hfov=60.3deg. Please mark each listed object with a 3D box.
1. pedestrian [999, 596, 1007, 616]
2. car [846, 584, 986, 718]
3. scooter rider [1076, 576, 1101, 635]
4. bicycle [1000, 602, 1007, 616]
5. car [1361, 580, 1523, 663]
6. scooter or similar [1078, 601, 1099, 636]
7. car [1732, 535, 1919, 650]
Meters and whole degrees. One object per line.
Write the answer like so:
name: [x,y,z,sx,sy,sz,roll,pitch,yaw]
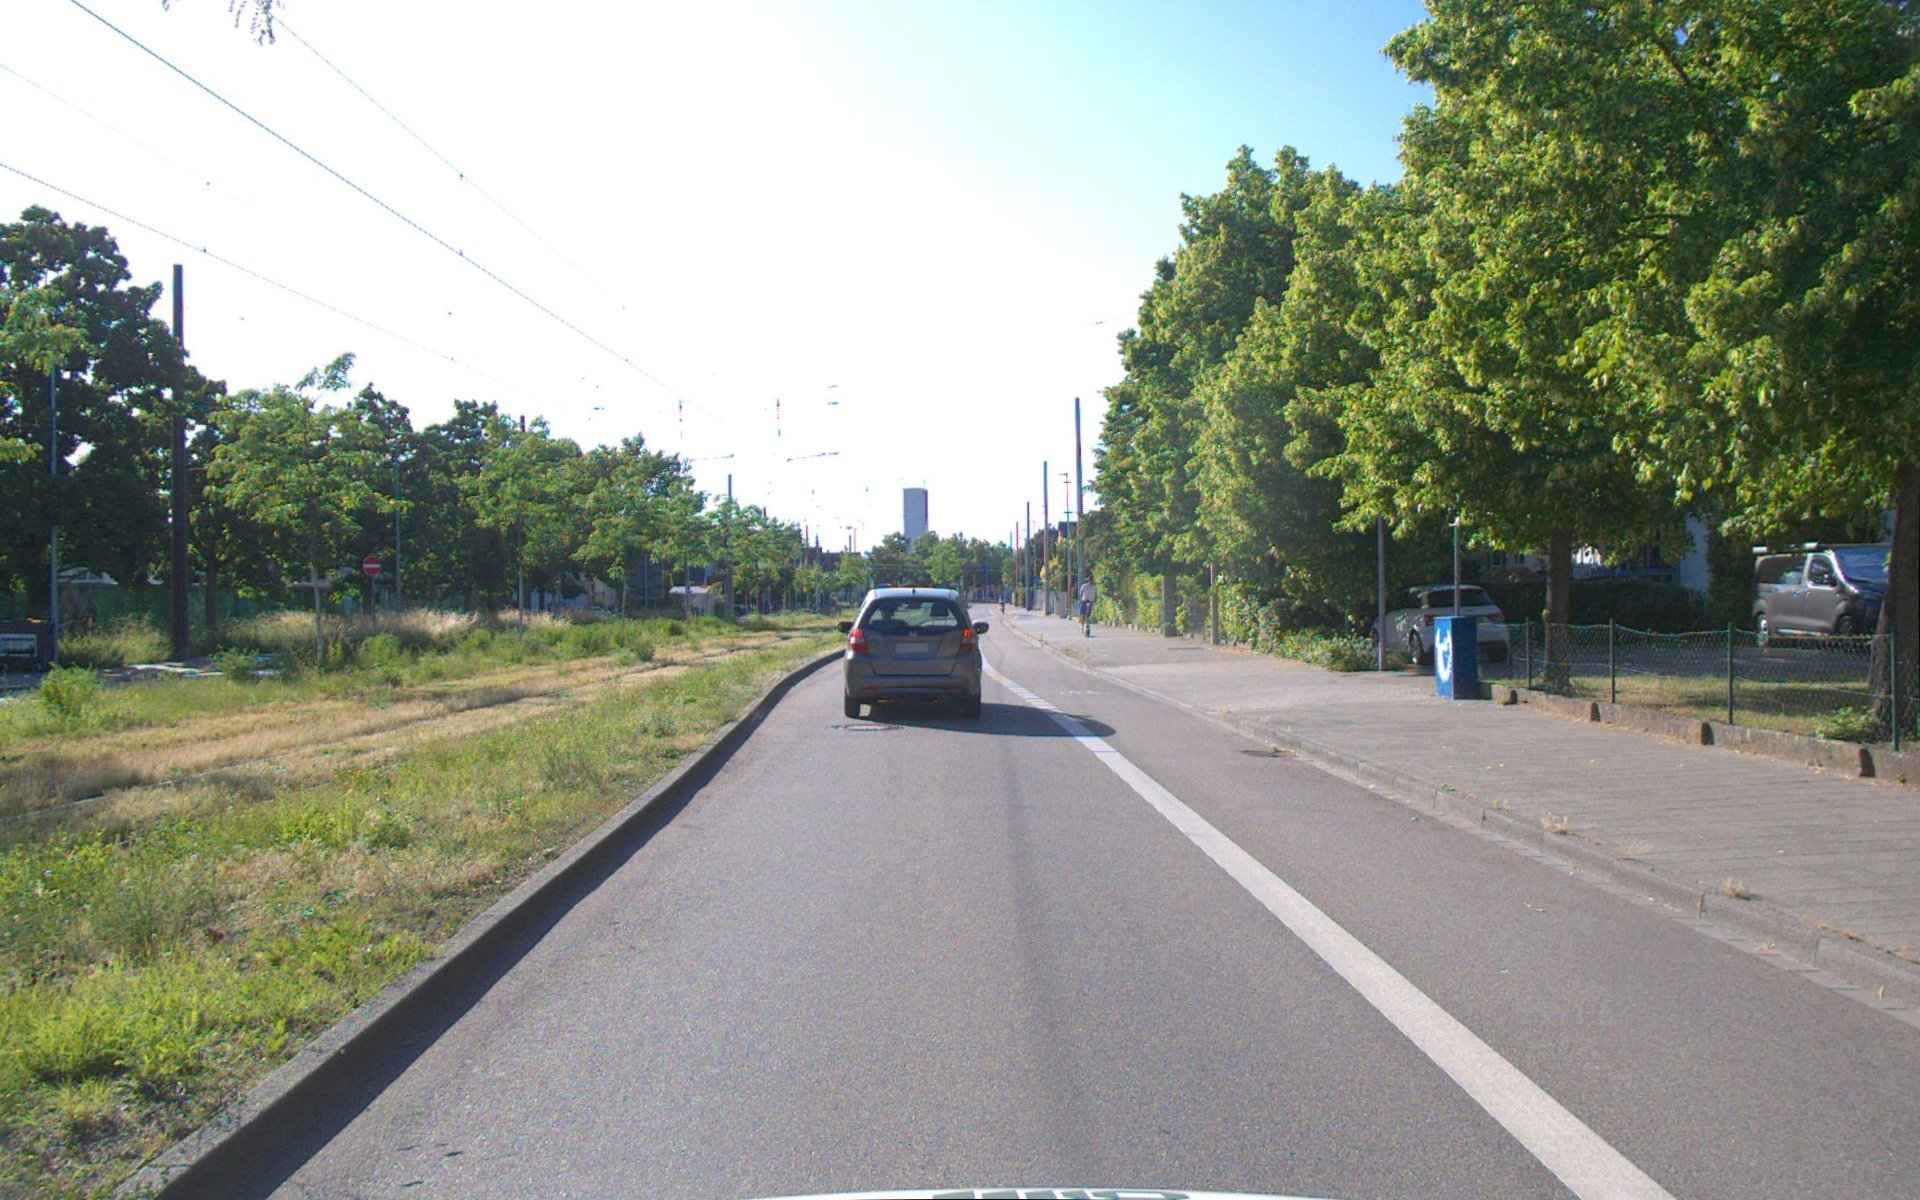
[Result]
pedestrian: [4.152,0.575,159.527,0.707,1.832,1.164,-1,0,-1]
car: [-0.506,0.584,20.759,1.591,1.526,3.456,1,0,0]
scooter rider: [4.278,0.181,54.940,0.701,1.934,0.934,-1,0,-2]
bicycle: [4.206,0.863,159.528,0.502,1.263,3.089,-1,0,-1]
car: [9.054,0.379,31.393,1.739,1.411,3.868,-2,0,-3]
scooter or similar: [4.268,0.602,54.961,0.528,1.138,1.417,-1,0,-2]
car: [16.728,-0.137,31.288,1.833,2.001,5.167,0,0,0]
